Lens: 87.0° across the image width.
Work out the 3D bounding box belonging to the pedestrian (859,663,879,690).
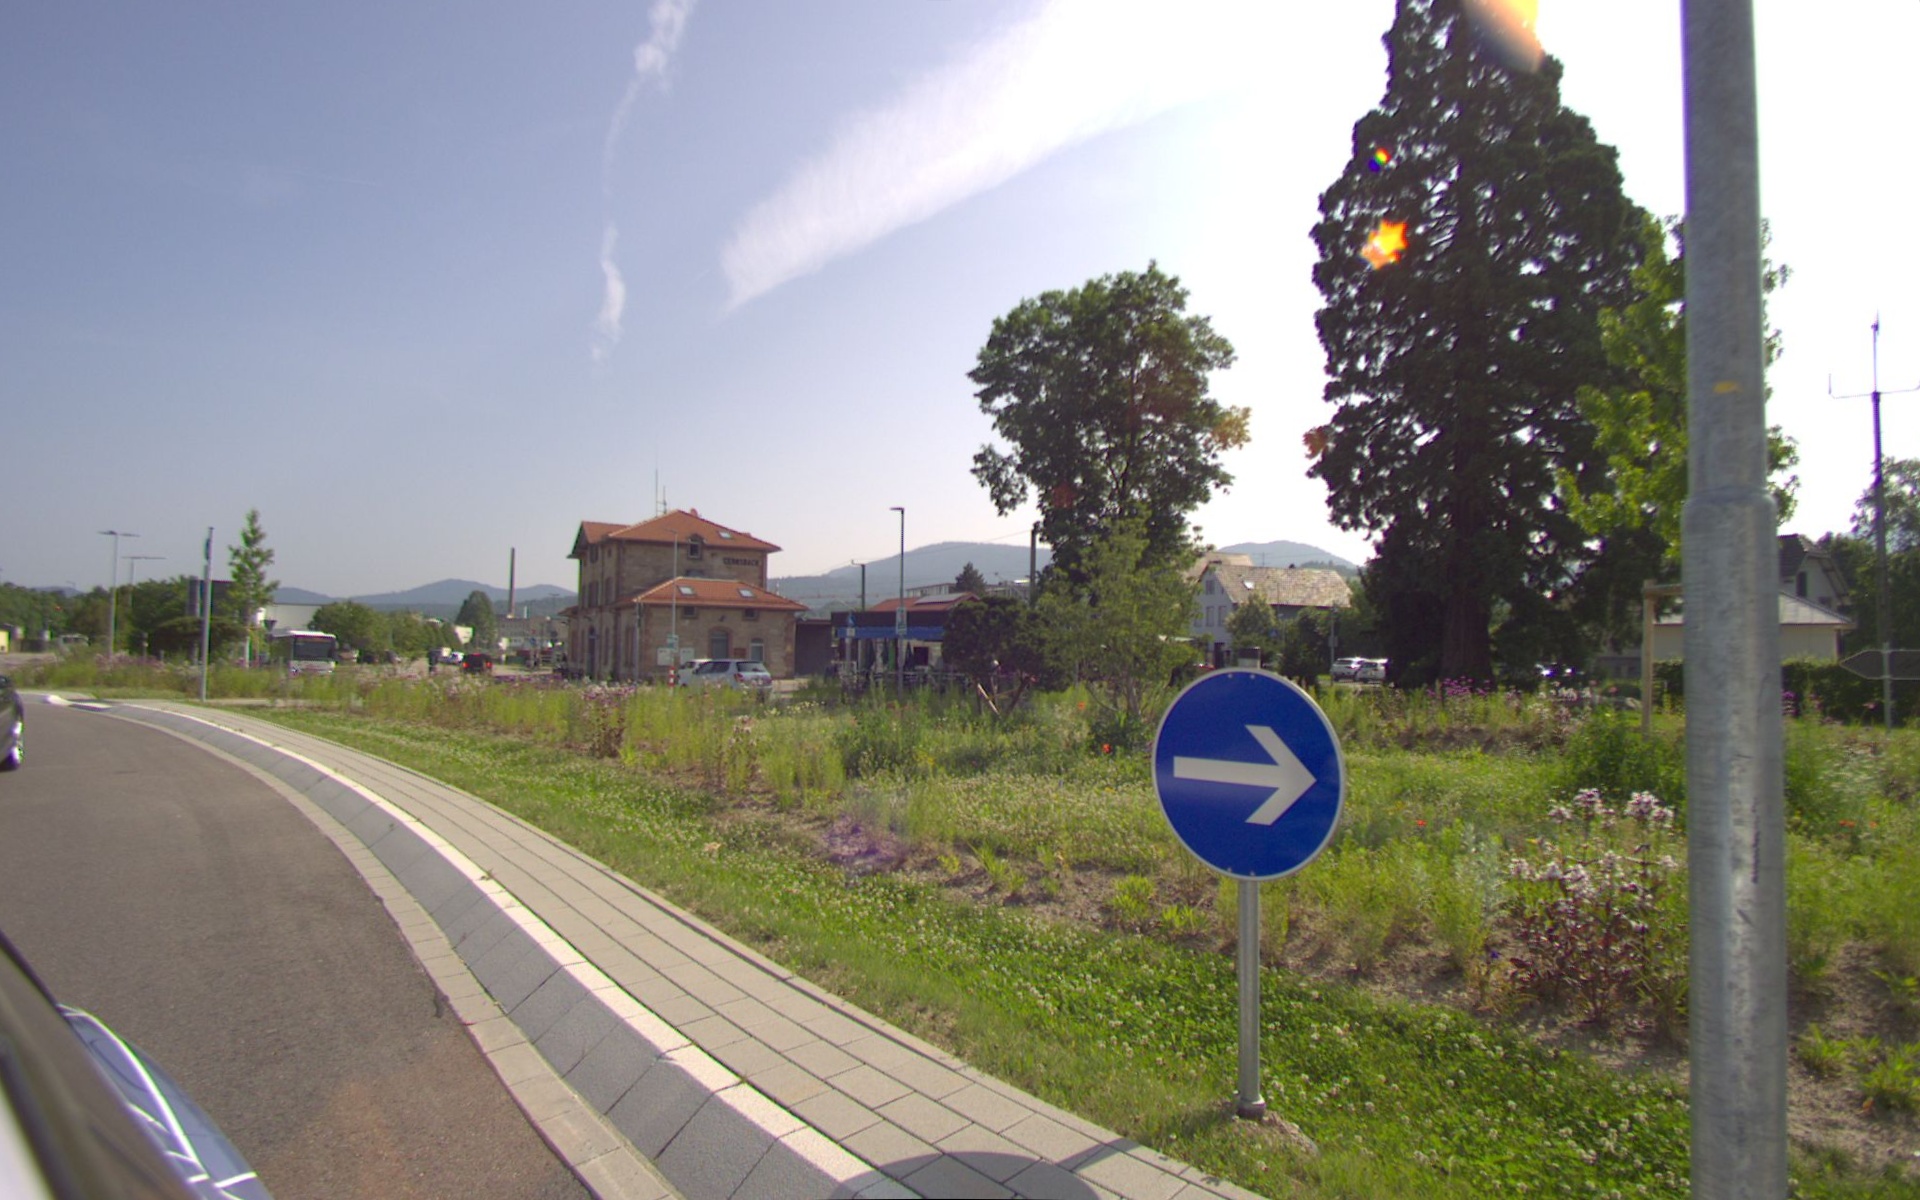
[{"bbox_3d":[-4.074,3.432,45.212,0.679,1.173,0.552,-3,-2,36],"label":"pedestrian"}]

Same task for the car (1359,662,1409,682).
[{"bbox_3d":[26.804,4.547,63.994,3.131,1.106,1.384,0,-1,-32],"label":"car"}]

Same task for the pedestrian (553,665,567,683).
[{"bbox_3d":[-26.857,4.971,67.895,0.777,1.171,0.508,0,-2,-31],"label":"pedestrian"}]

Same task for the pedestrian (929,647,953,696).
[{"bbox_3d":[-0.814,3.064,43.372,0.705,2.029,0.851,-2,-2,25],"label":"pedestrian"}]

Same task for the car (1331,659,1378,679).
[{"bbox_3d":[25.945,4.526,66.568,3.133,1.106,1.383,0,-1,-35],"label":"car"}]

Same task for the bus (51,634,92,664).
[{"bbox_3d":[-99.915,5.474,113.962,2.823,3.216,9.136,2,-3,-38],"label":"bus"}]

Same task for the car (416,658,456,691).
[{"bbox_3d":[-35.028,4.933,67.773,1.944,1.980,5.174,0,-2,-23],"label":"car"}]

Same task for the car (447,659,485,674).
[{"bbox_3d":[-62.234,8.383,127.491,1.836,1.741,3.947,-3,-2,40],"label":"car"}]

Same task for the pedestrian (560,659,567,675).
[{"bbox_3d":[-29.280,4.922,74.692,0.365,1.171,0.508,0,-2,-31],"label":"pedestrian"}]

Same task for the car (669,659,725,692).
[{"bbox_3d":[-14.184,4.030,54.499,1.652,1.580,3.659,0,-1,-36],"label":"car"}]

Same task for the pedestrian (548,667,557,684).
[{"bbox_3d":[-28.154,5.193,69.877,0.504,1.171,0.508,0,-2,-31],"label":"pedestrian"}]

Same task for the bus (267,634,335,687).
[{"bbox_3d":[-45.699,4.131,70.046,2.548,3.354,10.604,0,-2,-41],"label":"bus"}]

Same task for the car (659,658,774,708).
[{"bbox_3d":[-8.344,2.816,34.537,3.994,1.543,1.654,-2,-5,38],"label":"car"}]

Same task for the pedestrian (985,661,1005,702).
[{"bbox_3d":[1.397,3.284,40.715,0.565,1.602,0.645,-2,-2,25],"label":"pedestrian"}]
